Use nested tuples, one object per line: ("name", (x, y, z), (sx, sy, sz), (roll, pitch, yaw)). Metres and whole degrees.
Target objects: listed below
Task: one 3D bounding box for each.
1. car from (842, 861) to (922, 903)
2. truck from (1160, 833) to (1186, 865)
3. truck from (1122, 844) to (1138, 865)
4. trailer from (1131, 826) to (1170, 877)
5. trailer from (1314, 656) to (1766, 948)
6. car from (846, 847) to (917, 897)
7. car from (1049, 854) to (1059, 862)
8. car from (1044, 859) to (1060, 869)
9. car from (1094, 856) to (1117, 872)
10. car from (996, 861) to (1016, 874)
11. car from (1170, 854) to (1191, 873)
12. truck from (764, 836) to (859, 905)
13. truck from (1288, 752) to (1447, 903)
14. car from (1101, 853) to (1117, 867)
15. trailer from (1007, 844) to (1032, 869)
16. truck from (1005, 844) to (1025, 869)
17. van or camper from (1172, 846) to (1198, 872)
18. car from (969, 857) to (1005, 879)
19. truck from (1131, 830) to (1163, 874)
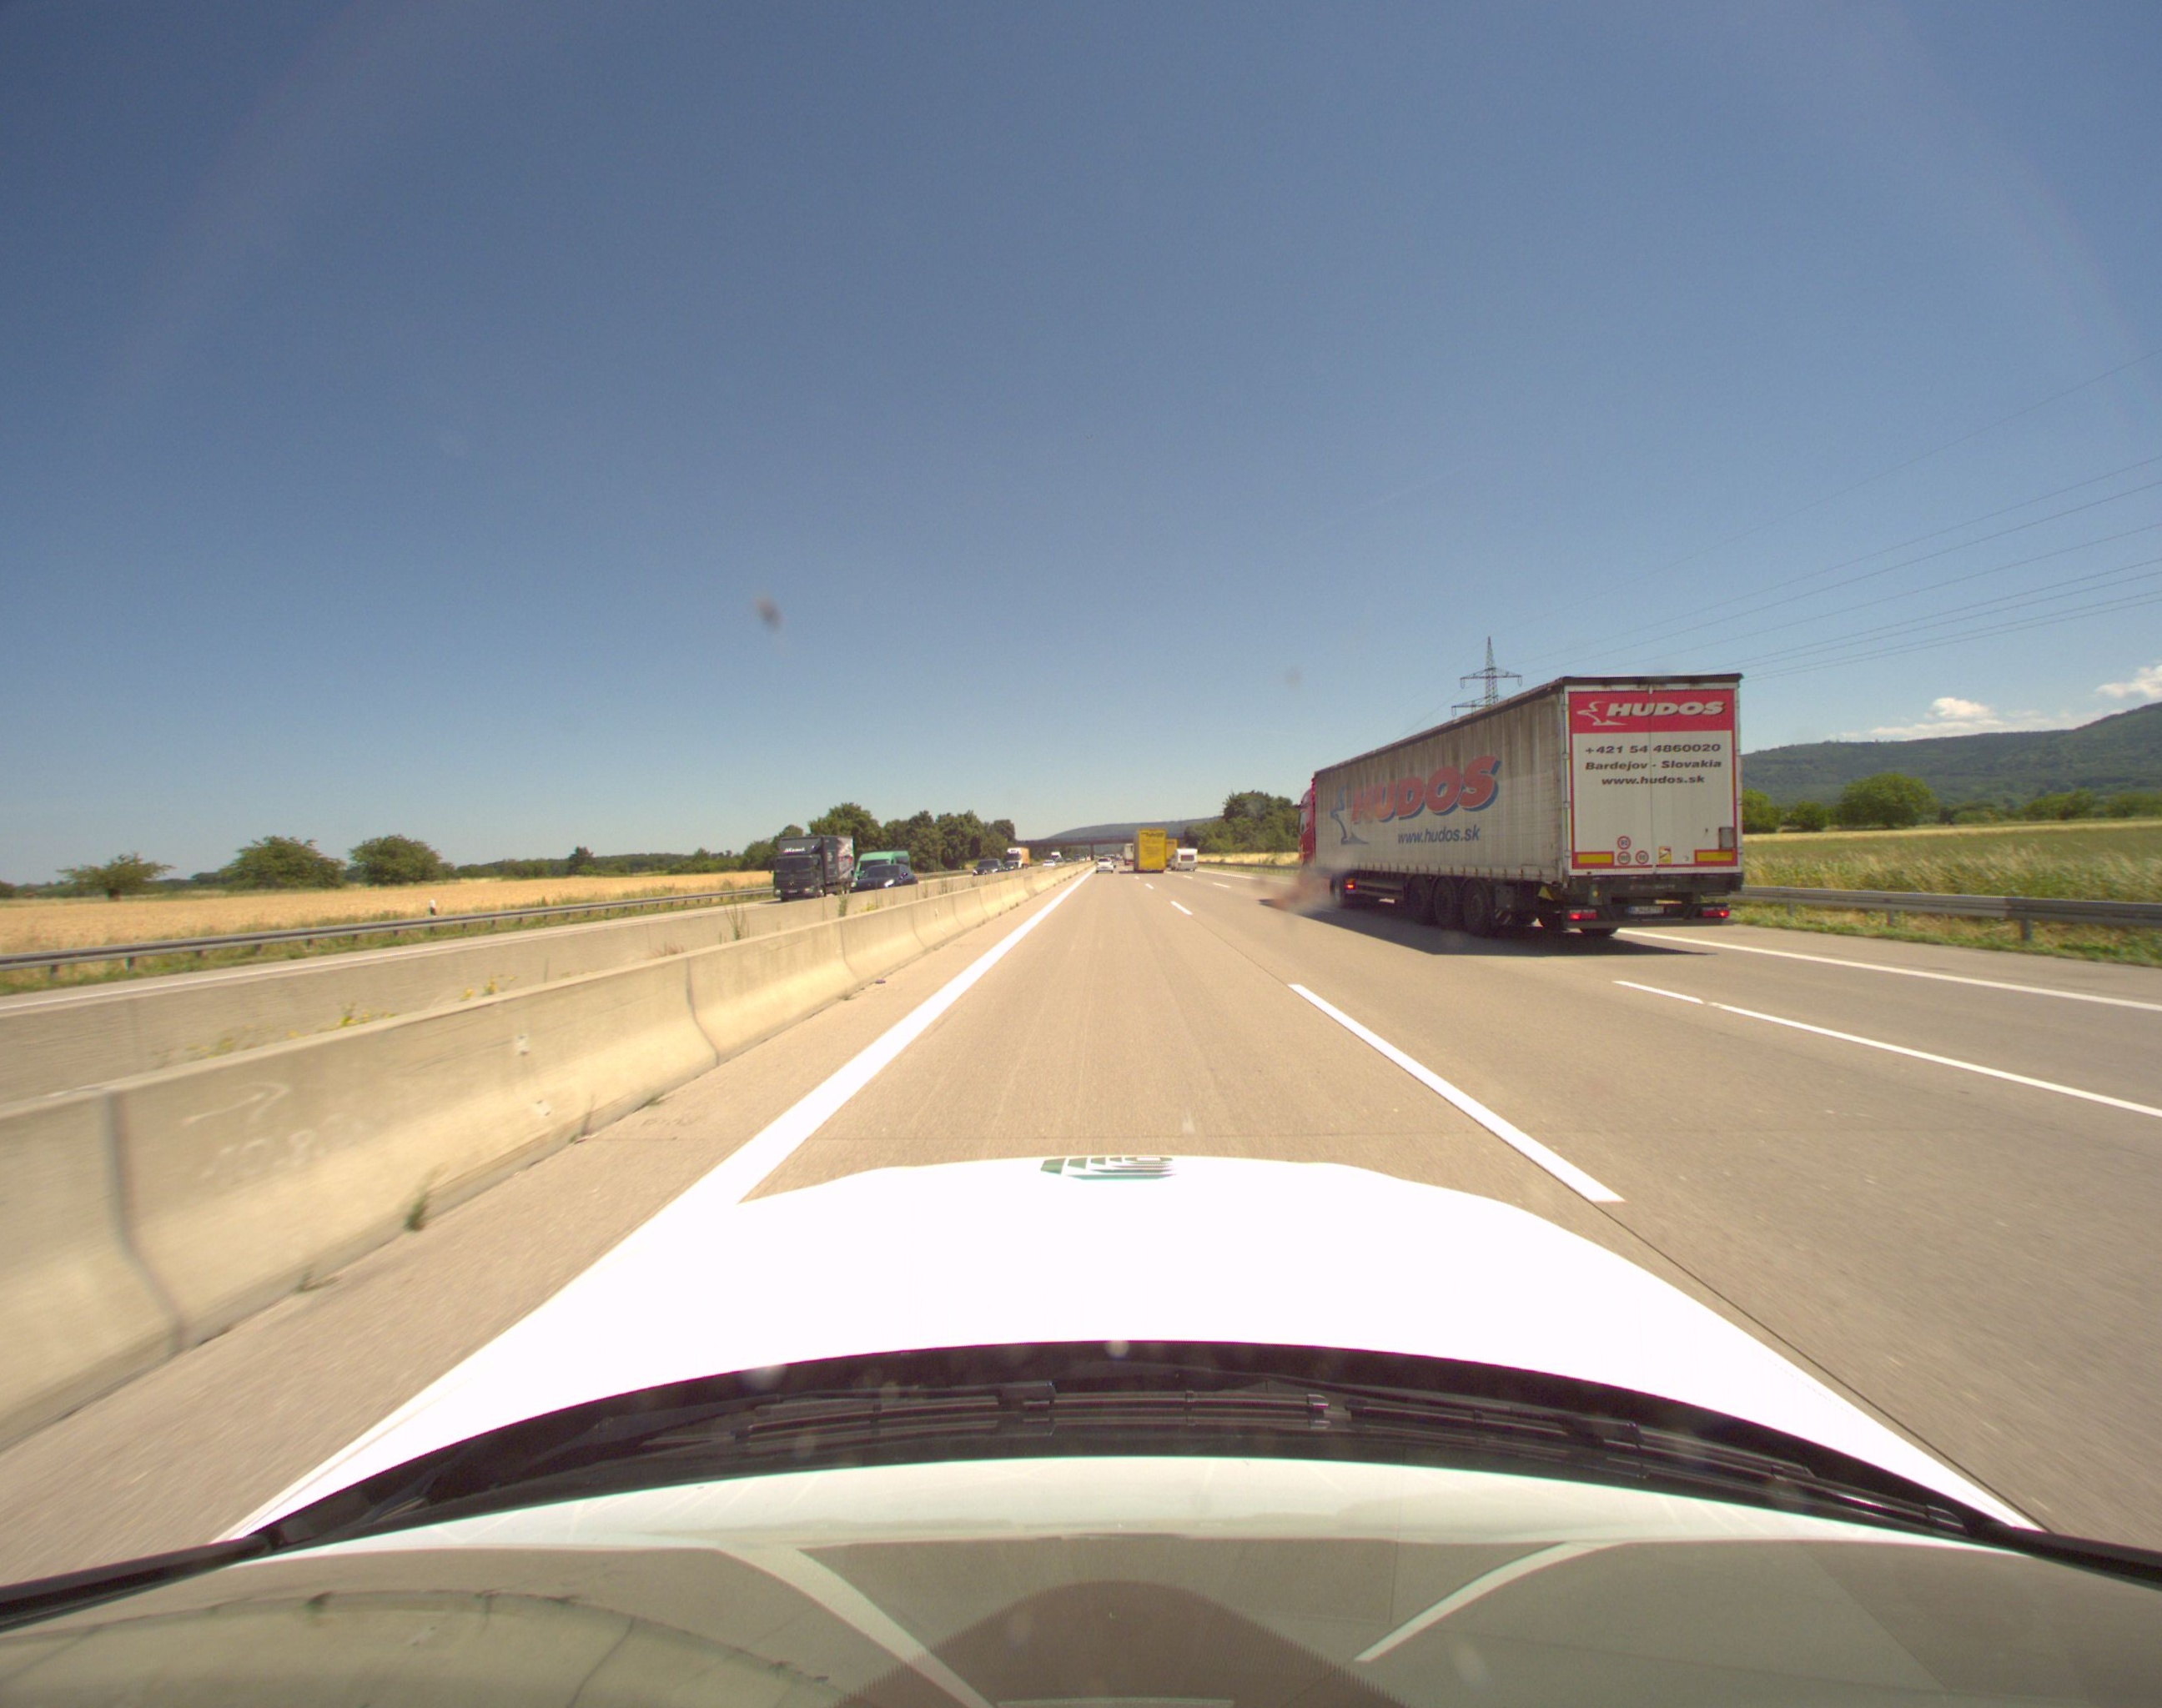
("car", (-8.011, 1.087, 33.239), (1.933, 1.558, 4.891), (0, 0, 2))
("truck", (12.980, -0.705, 115.172), (2.987, 4.314, 9.689), (0, 0, 2))
("truck", (8.844, 0.033, 148.359), (2.809, 3.761, 6.286), (0, 0, 2))
("trailer", (6.683, -0.234, 79.772), (3.203, 4.563, 13.464), (0, 0, 2))
("trailer", (8.378, -0.721, 18.204), (2.863, 4.100, 13.518), (0, 0, 2))
("car", (-11.075, 0.953, 45.758), (2.141, 2.551, 6.466), (-2, 0, 2))
("car", (-6.417, 0.949, 194.517), (1.923, 2.000, 5.520), (0, 0, 2))
("car", (-4.340, 1.463, 122.453), (1.986, 1.364, 4.672), (-3, 0, 2))
("car", (2.388, 0.984, 79.698), (2.098, 1.536, 4.126), (0, 0, 3))
("car", (-10.010, 1.740, 108.595), (1.986, 1.560, 4.514), (-4, 0, 2))
("car", (10.986, 1.020, 89.939), (1.986, 2.013, 4.002), (0, 0, 2))
("truck", (-15.419, 0.880, 47.285), (2.545, 3.512, 7.888), (-3, 0, 2))
("truck", (8.605, -0.714, 25.348), (2.895, 4.100, 6.274), (0, 0, 2))
("car", (4.164, 0.827, 118.533), (2.245, 2.013, 4.301), (0, 0, 3))
("trailer", (-11.438, 0.479, 152.493), (2.862, 4.198, 14.146), (-3, 0, 2))
("truck", (-11.708, 0.452, 145.049), (2.858, 4.195, 5.232), (-3, -1, 2))
("van or camper", (10.838, 0.507, 85.169), (2.216, 2.531, 5.433), (0, 0, 2))
("car", (-7.019, 1.000, 61.292), (1.986, 1.576, 4.851), (0, 0, 2))
("truck", (6.942, -0.228, 86.696), (3.203, 4.563, 5.839), (0, 0, 2))
